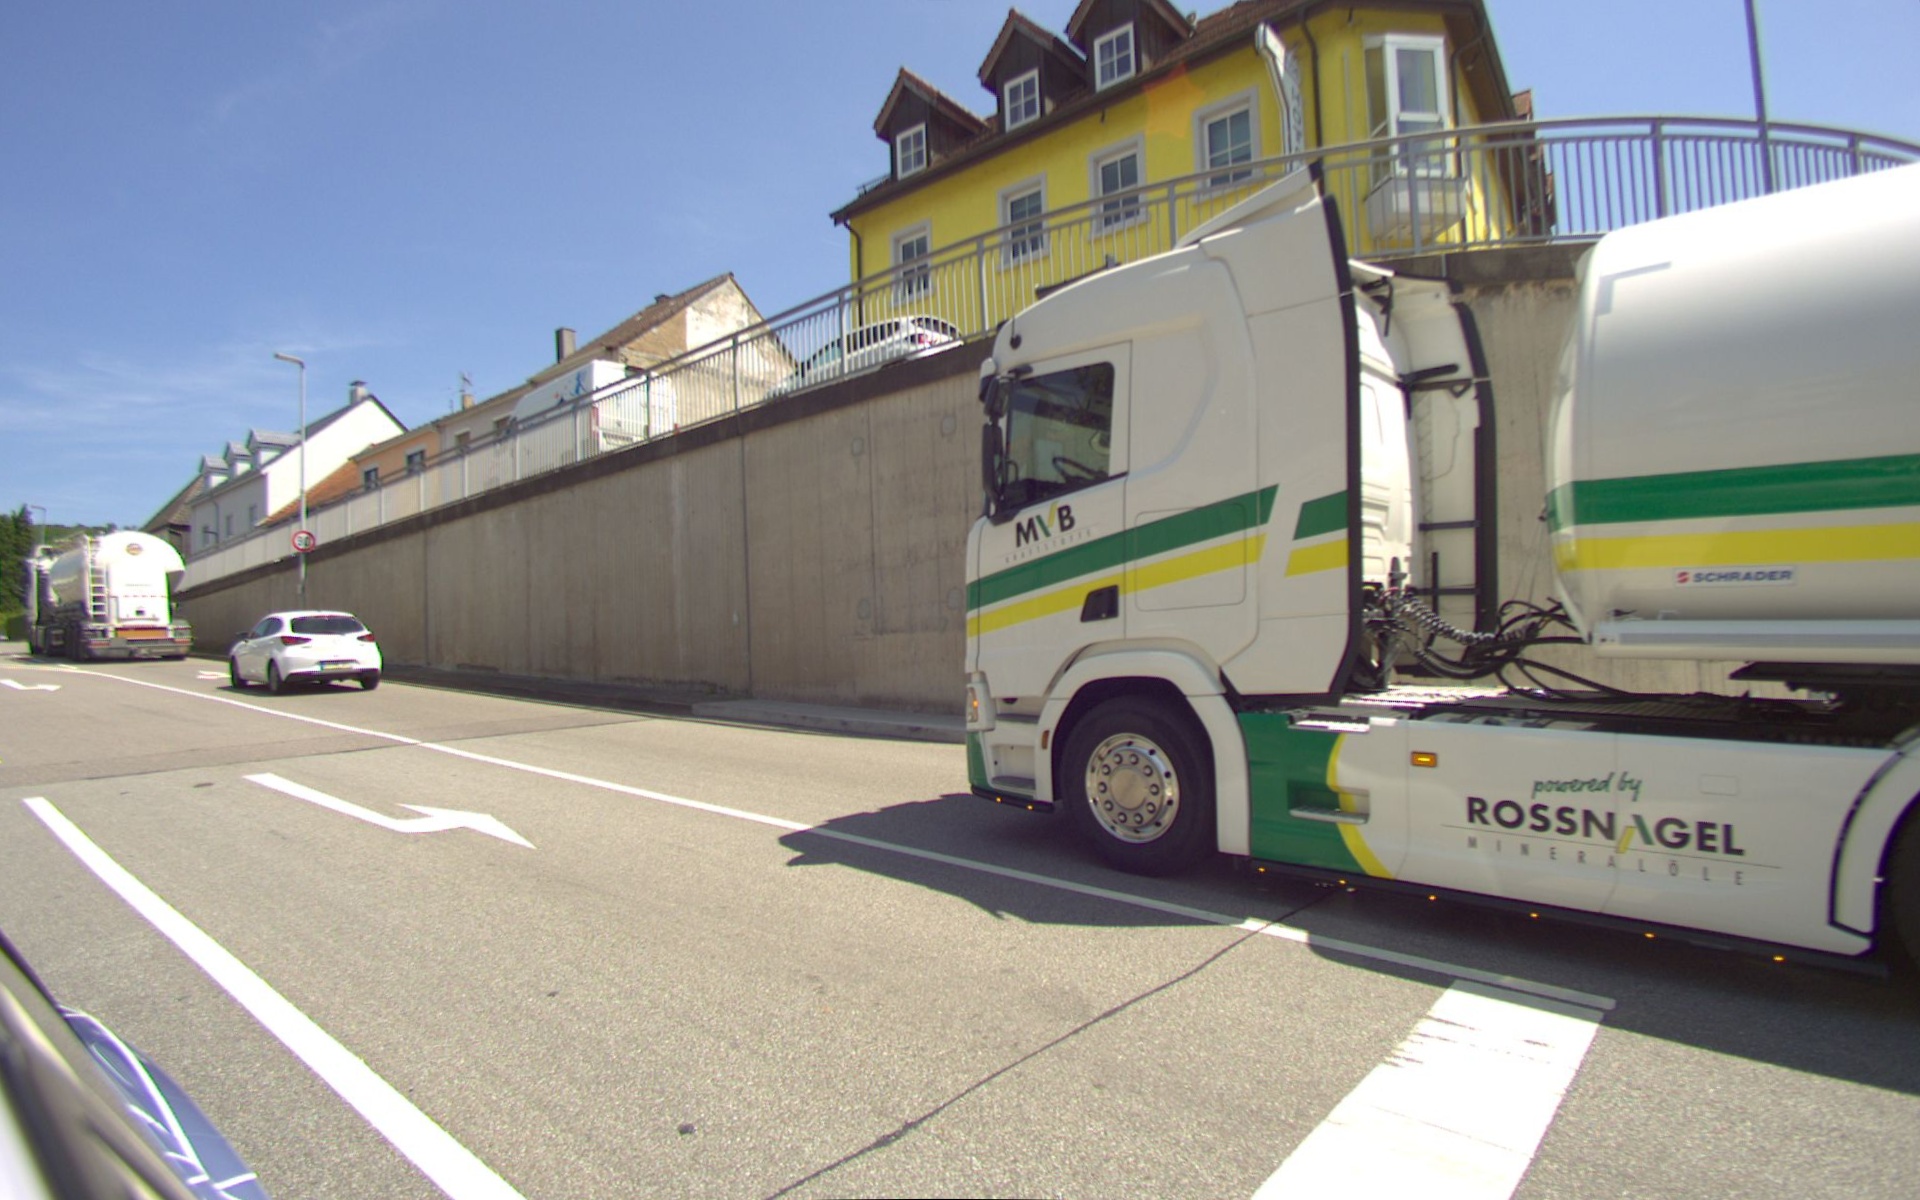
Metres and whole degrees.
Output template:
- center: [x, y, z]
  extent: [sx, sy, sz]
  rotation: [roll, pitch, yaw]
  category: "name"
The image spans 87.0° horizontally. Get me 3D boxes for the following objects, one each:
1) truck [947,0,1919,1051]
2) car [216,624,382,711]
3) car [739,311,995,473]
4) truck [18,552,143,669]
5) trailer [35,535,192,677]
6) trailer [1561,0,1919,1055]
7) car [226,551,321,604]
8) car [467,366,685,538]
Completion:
- center: [3.575, -0.354, 4.707]
  extent: [7.365, 3.691, 2.661]
  rotation: [-2, -2, 41]
  category: "truck"
- center: [-12.630, 1.202, 19.246]
  extent: [4.093, 1.451, 1.664]
  rotation: [-1, -1, 42]
  category: "car"
- center: [-1.568, -3.166, 16.131]
  extent: [4.039, 1.512, 1.603]
  rotation: [-5, -4, 39]
  category: "car"
- center: [-31.936, 0.419, 36.665]
  extent: [6.578, 3.890, 2.633]
  rotation: [-1, -2, 42]
  category: "truck"
- center: [-27.442, 0.260, 32.602]
  extent: [9.344, 3.994, 2.582]
  rotation: [-1, -2, 42]
  category: "trailer"
- center: [6.940, -0.457, 1.633]
  extent: [9.886, 3.691, 2.661]
  rotation: [-2, -2, 42]
  category: "trailer"
- center: [-24.868, -0.760, 36.599]
  extent: [4.306, 1.474, 1.794]
  rotation: [-6, -4, 40]
  category: "car"
- center: [-8.435, -2.977, 21.897]
  extent: [5.660, 2.556, 2.043]
  rotation: [-6, -4, 42]
  category: "car"
